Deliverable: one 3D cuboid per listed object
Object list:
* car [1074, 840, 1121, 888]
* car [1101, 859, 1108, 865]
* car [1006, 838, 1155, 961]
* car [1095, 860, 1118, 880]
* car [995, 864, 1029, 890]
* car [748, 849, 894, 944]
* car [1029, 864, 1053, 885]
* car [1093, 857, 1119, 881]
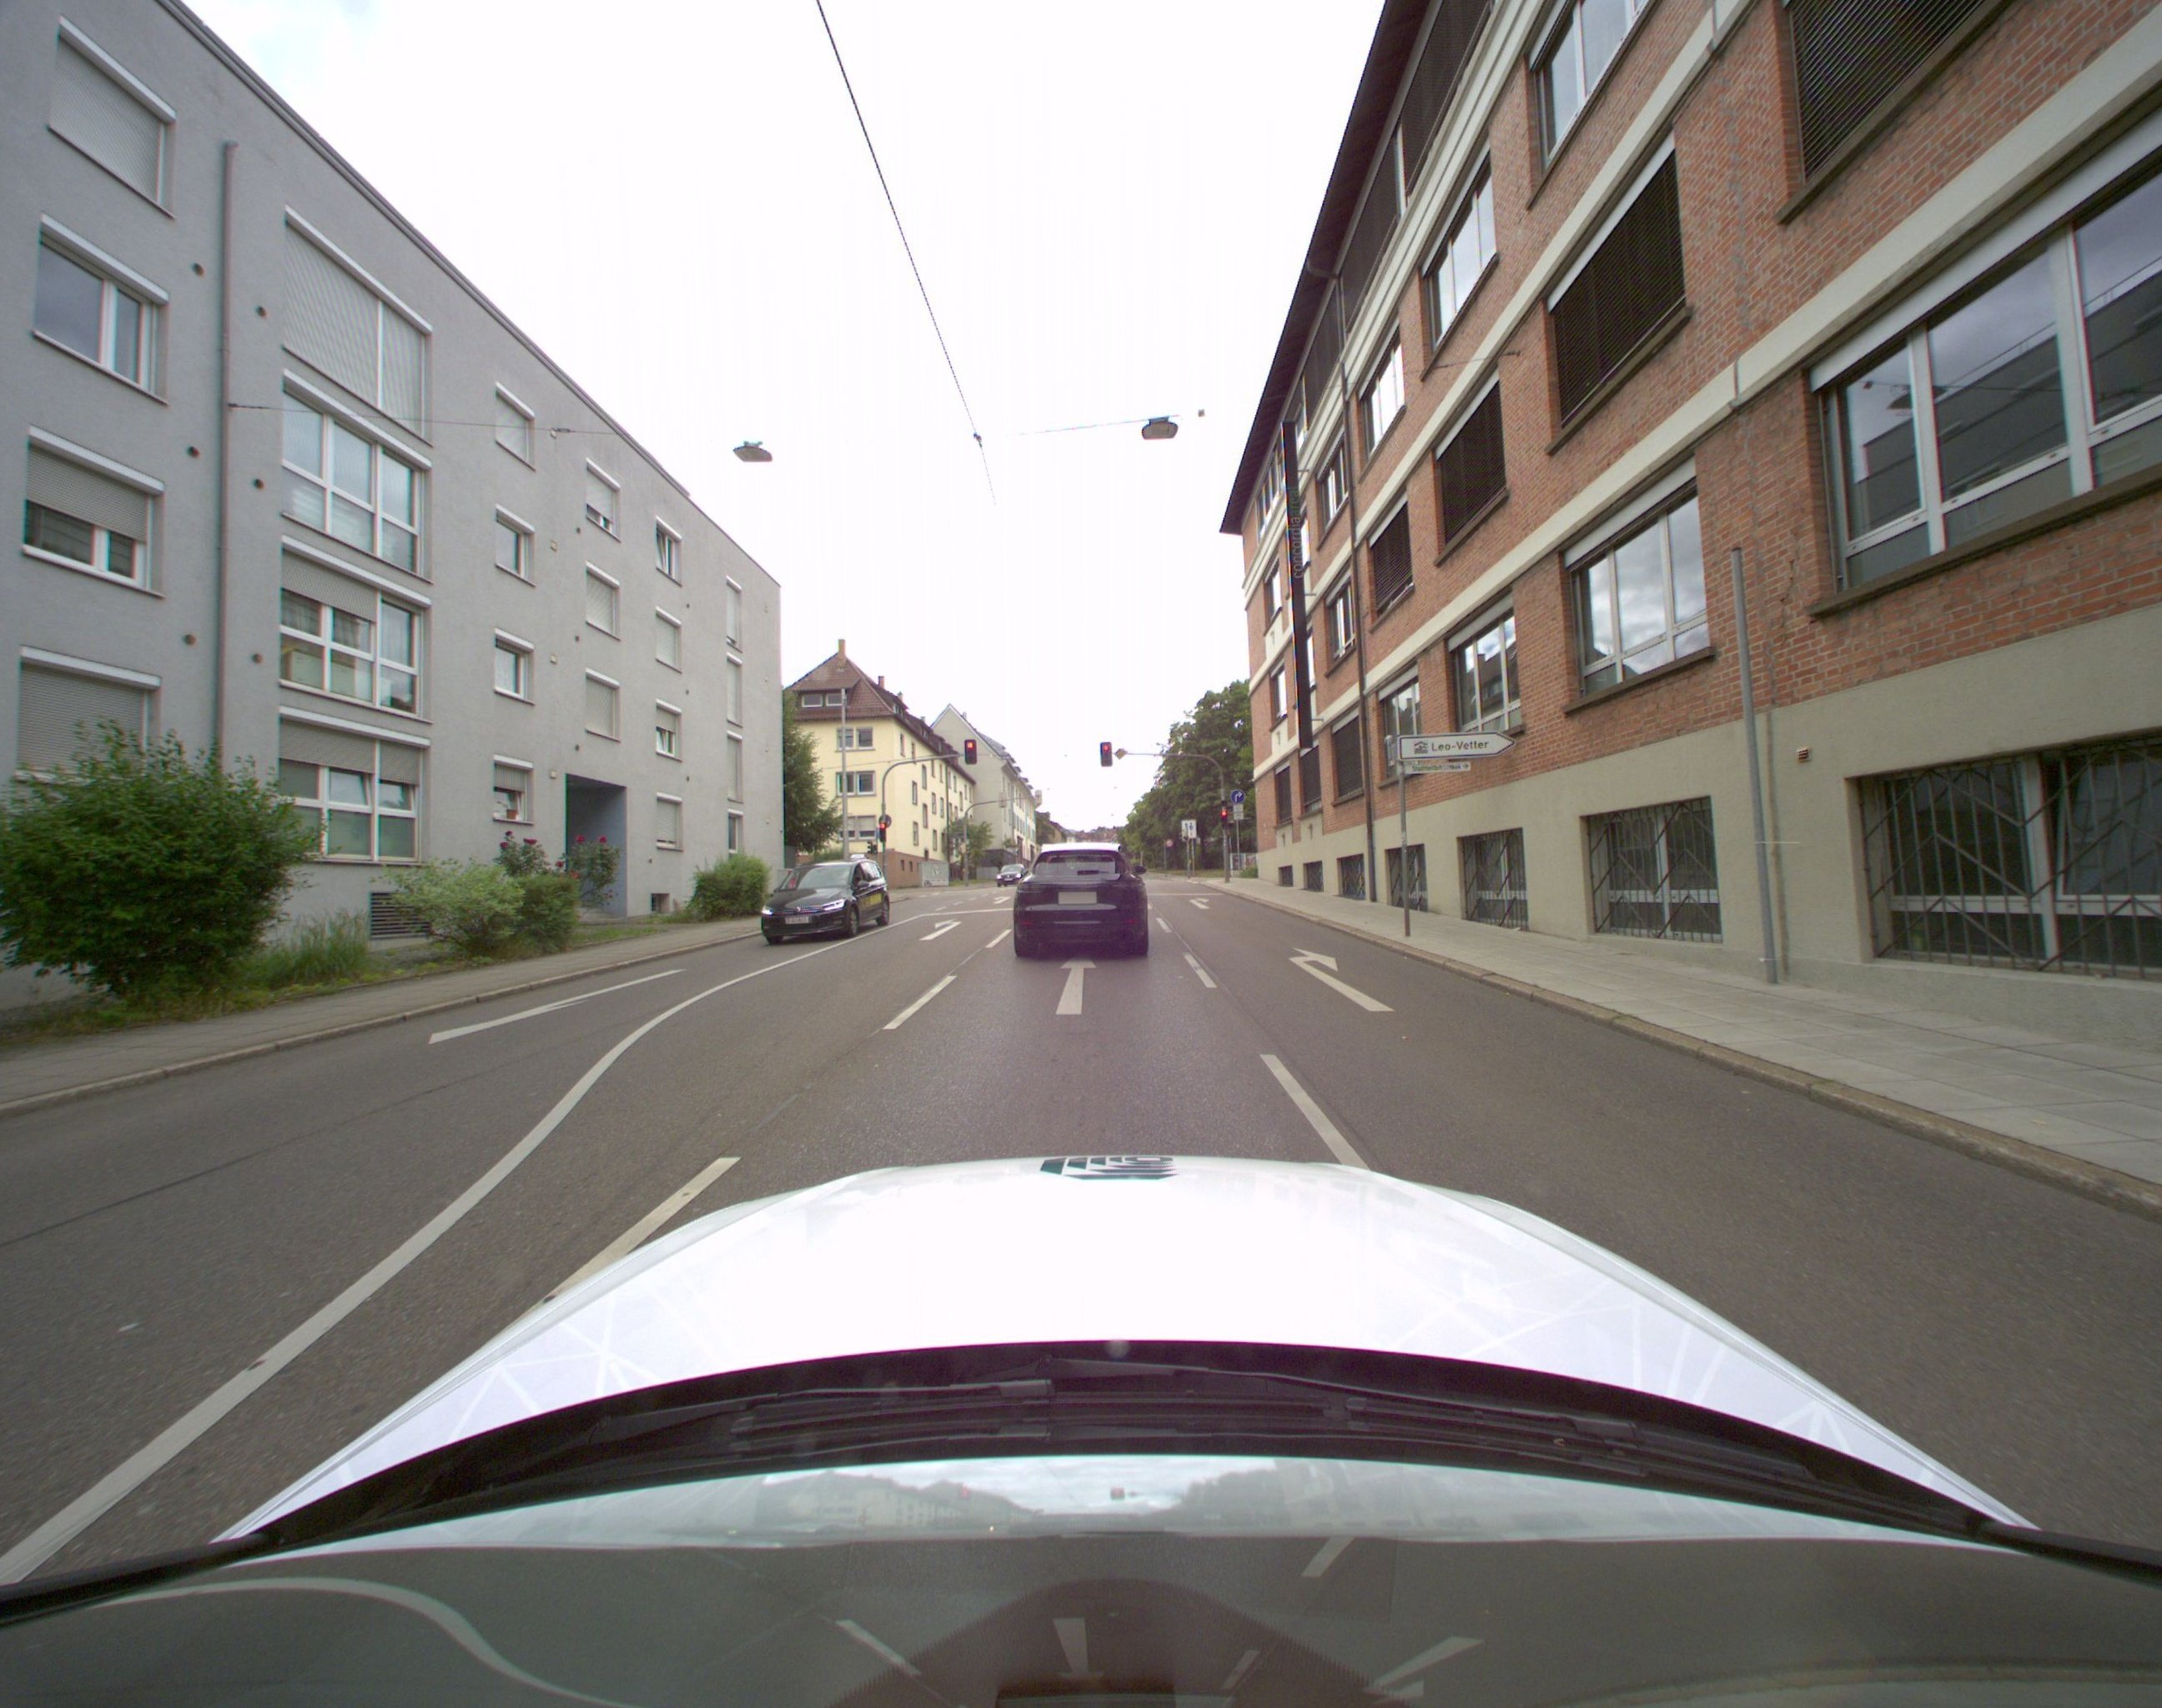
[{"bbox_3d":[0.796,0.413,36.841,1.957,2.042,4.137,-1,0,2],"label":"car"},{"bbox_3d":[6.510,2.118,225.201,1.820,1.605,4.137,-1,0,2],"label":"car"},{"bbox_3d":[0.082,0.619,13.351,2.040,1.666,4.269,-1,0,2],"label":"car"},{"bbox_3d":[2.144,1.304,67.460,1.820,1.605,3.861,-1,0,2],"label":"car"},{"bbox_3d":[-4.478,1.466,53.221,1.667,1.400,3.796,-4,0,2],"label":"car"},{"bbox_3d":[-5.541,0.833,17.986,1.779,1.706,4.305,-4,0,-1],"label":"car"},{"bbox_3d":[-3.452,1.733,70.838,1.697,1.587,3.938,-4,0,2],"label":"car"},{"bbox_3d":[1.819,1.023,58.588,1.820,1.605,4.137,-1,0,2],"label":"car"}]
